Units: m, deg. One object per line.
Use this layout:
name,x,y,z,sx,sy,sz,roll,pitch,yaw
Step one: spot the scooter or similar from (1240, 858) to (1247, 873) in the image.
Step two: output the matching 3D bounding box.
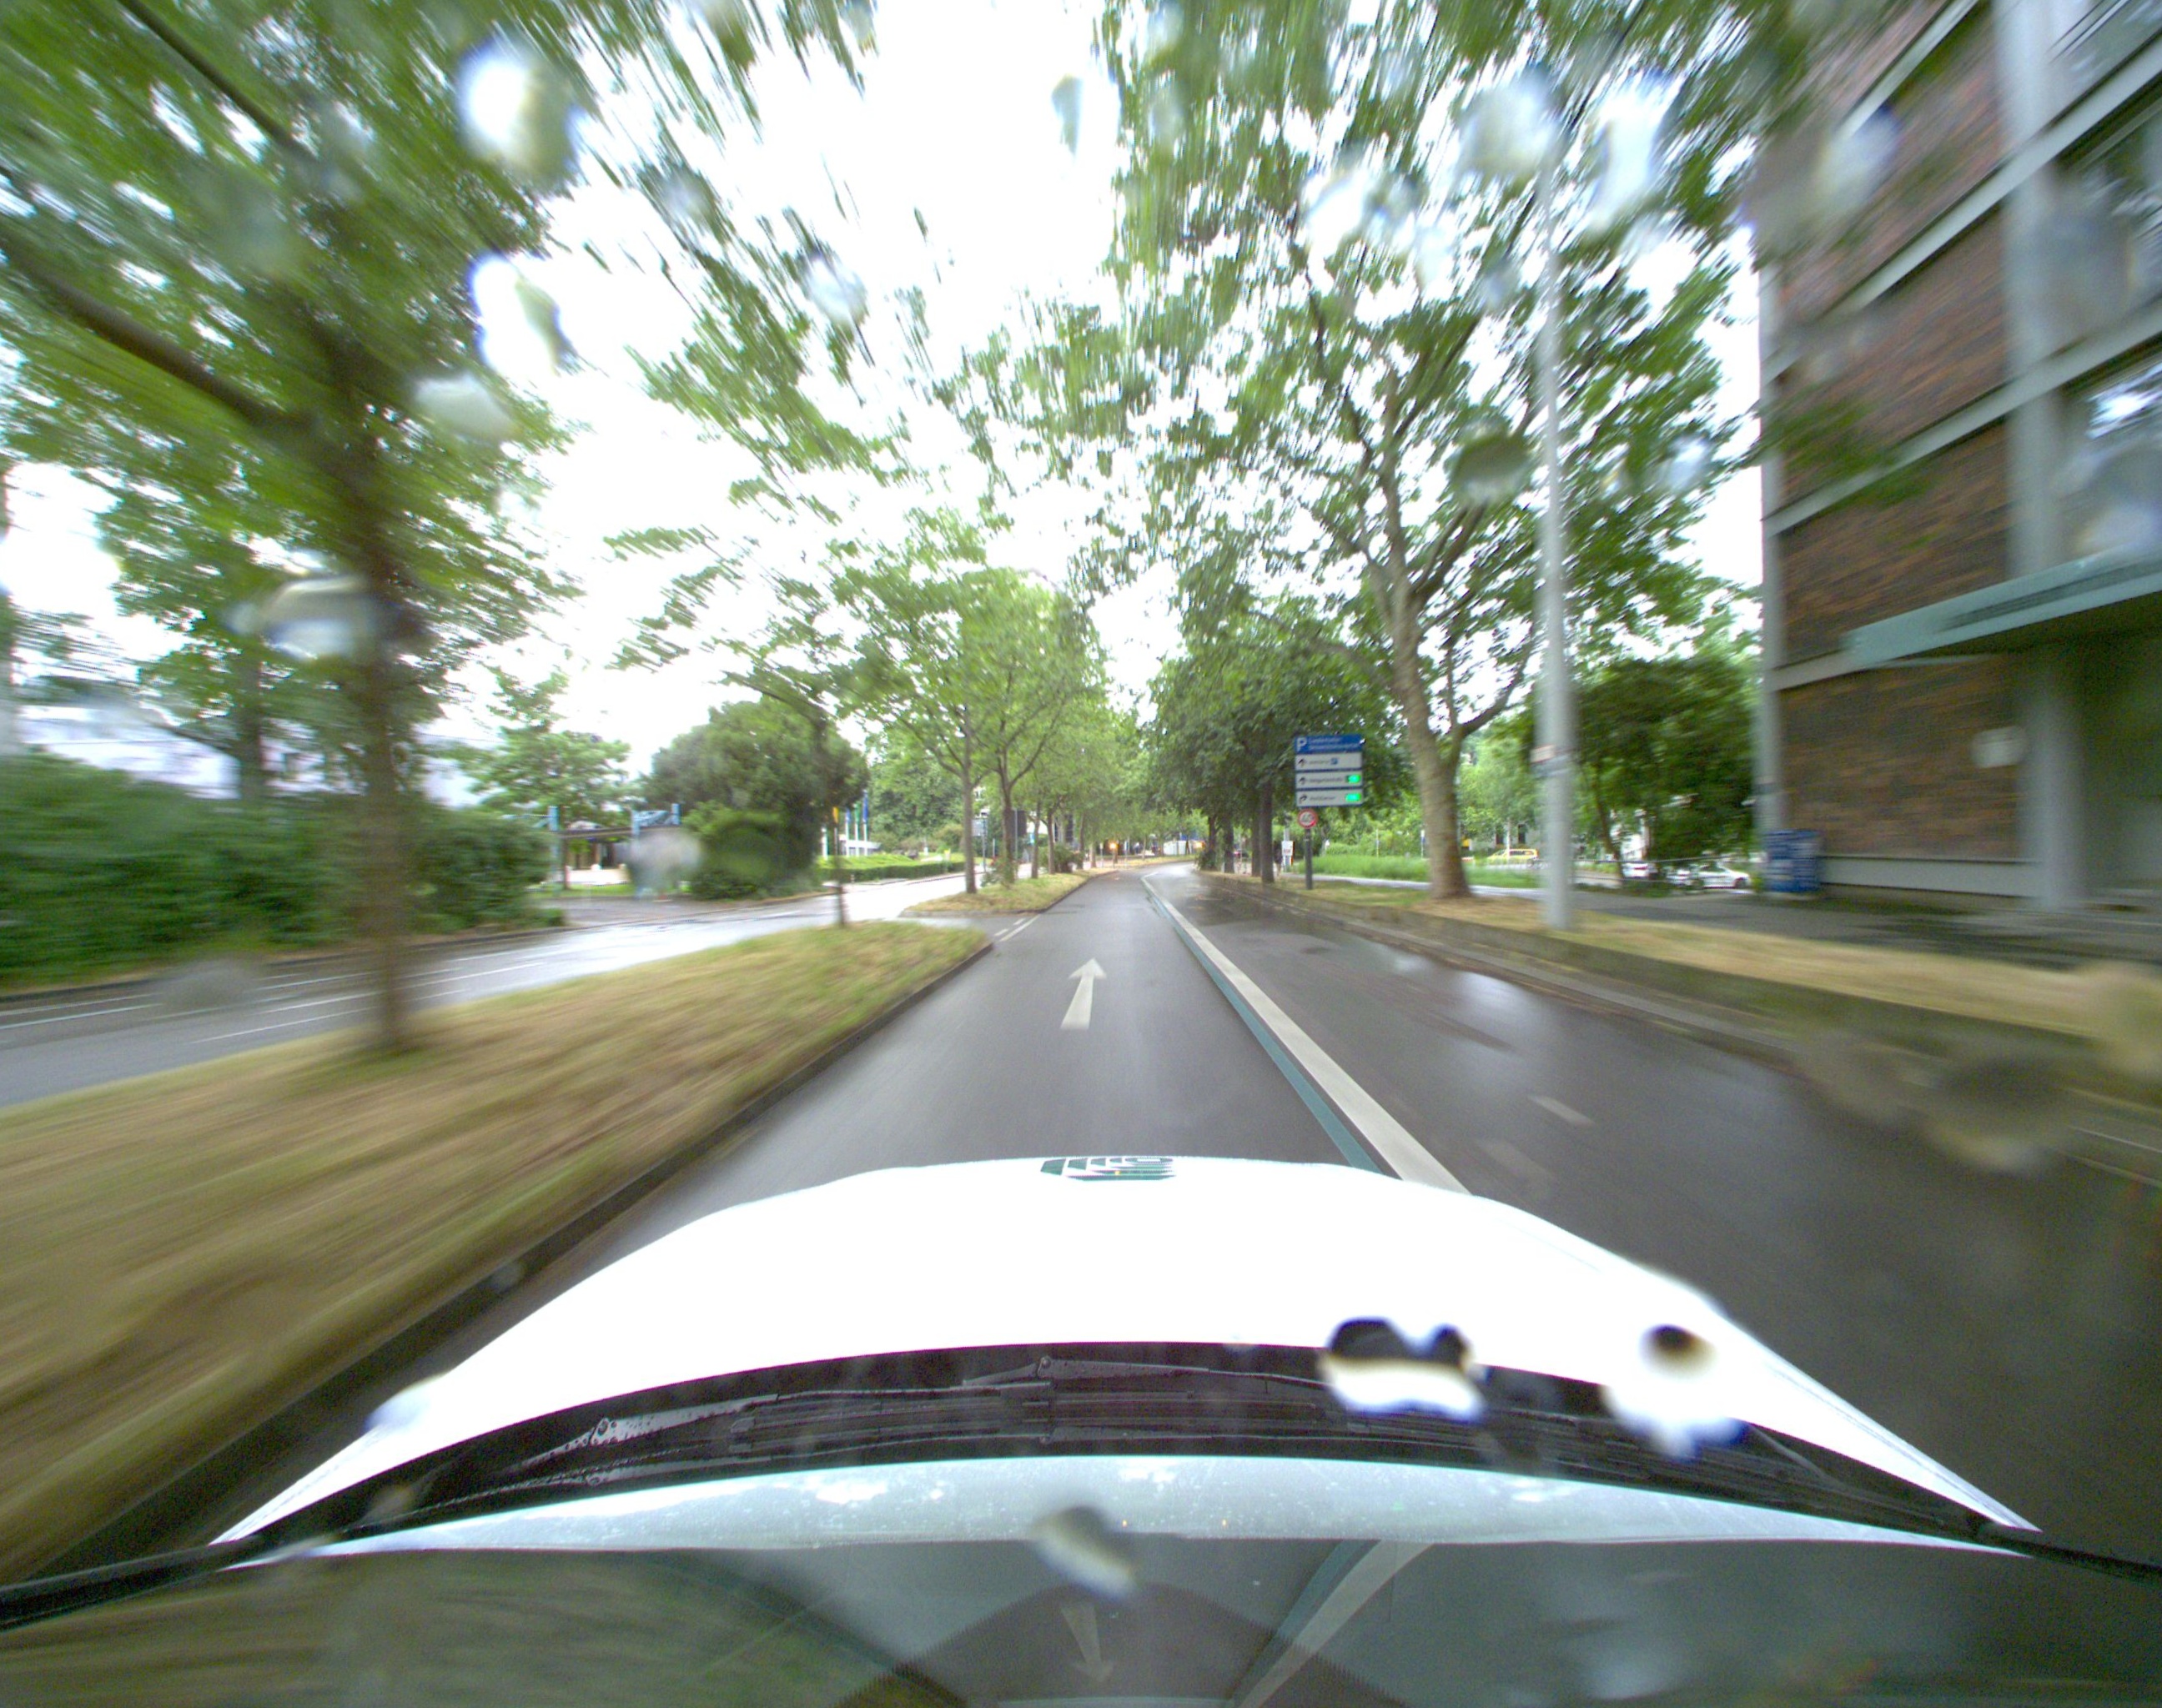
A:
scooter or similar,11.247,0.781,56.327,0.291,1.025,1.066,-1,0,2

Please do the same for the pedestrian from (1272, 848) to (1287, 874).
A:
pedestrian,12.356,0.434,50.761,0.700,1.639,0.935,-1,0,2

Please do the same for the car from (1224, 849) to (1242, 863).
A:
car,23.313,0.295,124.557,1.977,2.013,4.020,-1,0,20
